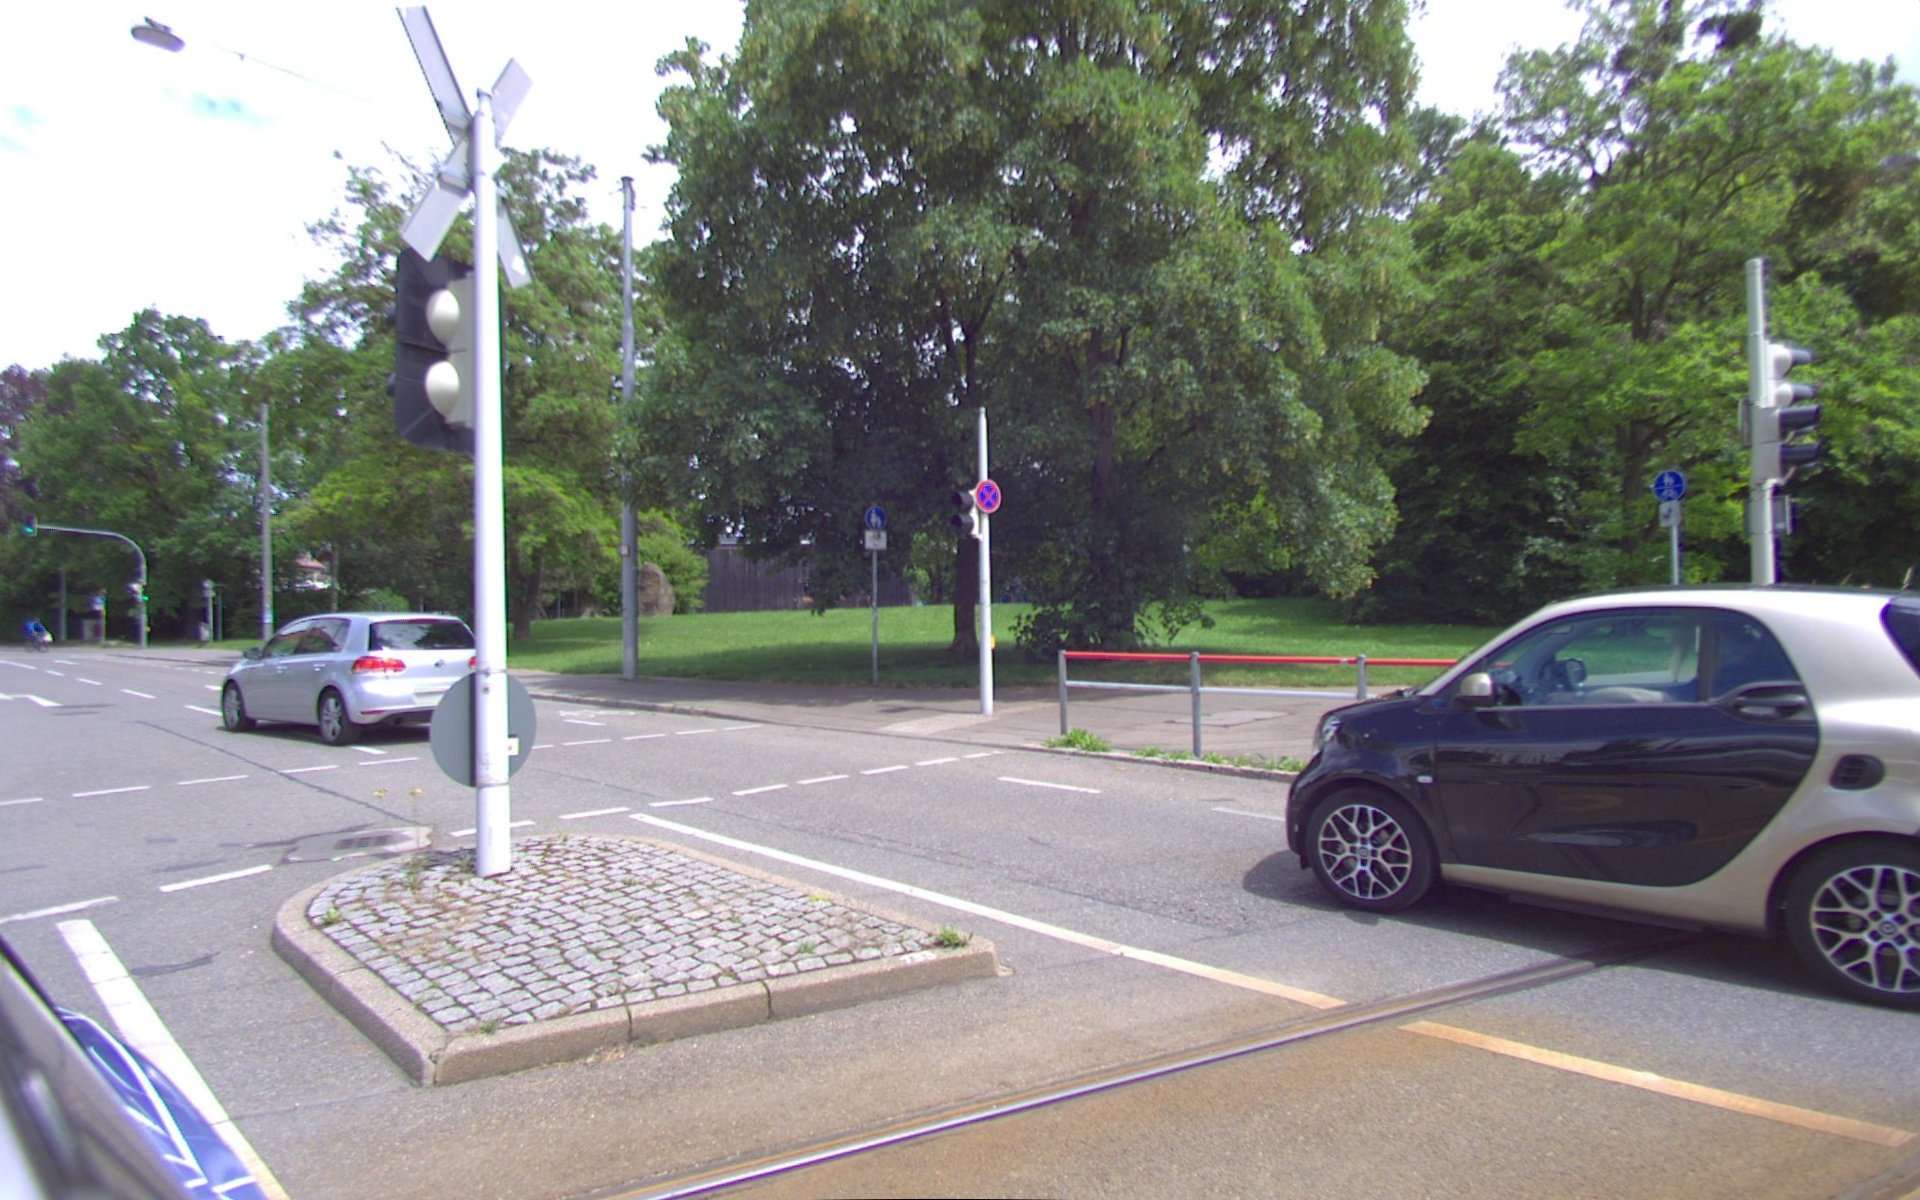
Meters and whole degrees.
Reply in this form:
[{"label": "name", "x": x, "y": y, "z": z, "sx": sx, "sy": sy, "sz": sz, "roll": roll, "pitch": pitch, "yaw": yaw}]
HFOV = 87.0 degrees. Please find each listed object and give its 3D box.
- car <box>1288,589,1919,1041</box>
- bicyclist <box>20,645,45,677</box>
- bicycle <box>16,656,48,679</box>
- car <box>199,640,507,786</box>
[{"label": "car", "x": 3.157, "y": 0.756, "z": 4.528, "sx": 2.787, "sy": 1.521, "sz": 1.558, "roll": -3, "pitch": -2, "yaw": 42}, {"label": "bicyclist", "x": -47.900, "y": 3.151, "z": 52.267, "sx": 0.770, "sy": 1.620, "sz": 0.798, "roll": -2, "pitch": -1, "yaw": 33}, {"label": "bicycle", "x": -47.938, "y": 3.485, "z": 52.292, "sx": 1.795, "sy": 1.116, "sz": 0.805, "roll": -2, "pitch": 0, "yaw": 34}, {"label": "car", "x": -7.426, "y": 1.249, "z": 12.268, "sx": 4.059, "sy": 1.469, "sz": 1.674, "roll": -2, "pitch": -2, "yaw": 34}]
